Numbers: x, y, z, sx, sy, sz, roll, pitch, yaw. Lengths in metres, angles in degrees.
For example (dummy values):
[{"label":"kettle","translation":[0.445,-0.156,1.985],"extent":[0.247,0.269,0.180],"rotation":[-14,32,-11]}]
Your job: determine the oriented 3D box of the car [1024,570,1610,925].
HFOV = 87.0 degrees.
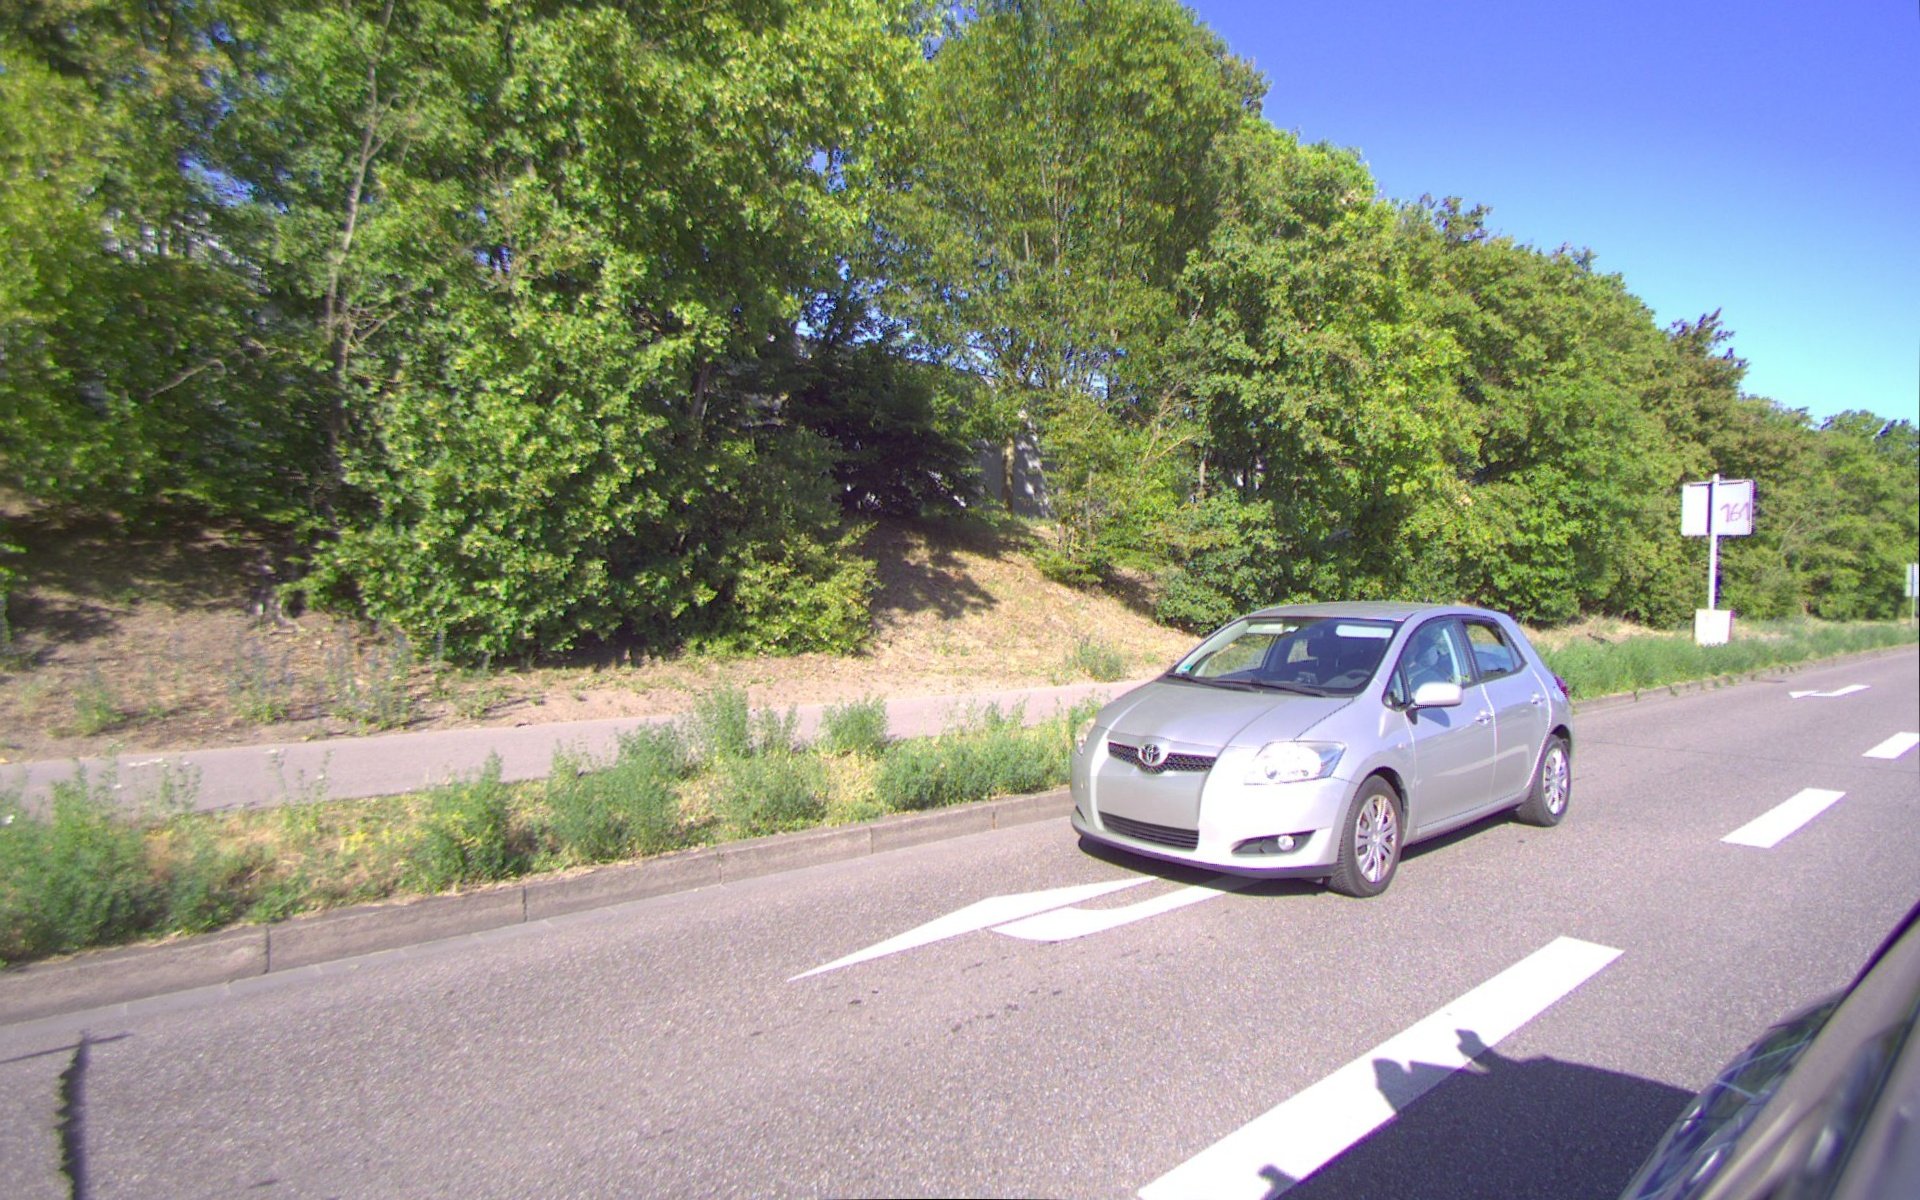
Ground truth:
[{"label":"car","translation":[2.464,0.653,6.460],"extent":[4.036,1.556,1.786],"rotation":[0,0,-41]}]
